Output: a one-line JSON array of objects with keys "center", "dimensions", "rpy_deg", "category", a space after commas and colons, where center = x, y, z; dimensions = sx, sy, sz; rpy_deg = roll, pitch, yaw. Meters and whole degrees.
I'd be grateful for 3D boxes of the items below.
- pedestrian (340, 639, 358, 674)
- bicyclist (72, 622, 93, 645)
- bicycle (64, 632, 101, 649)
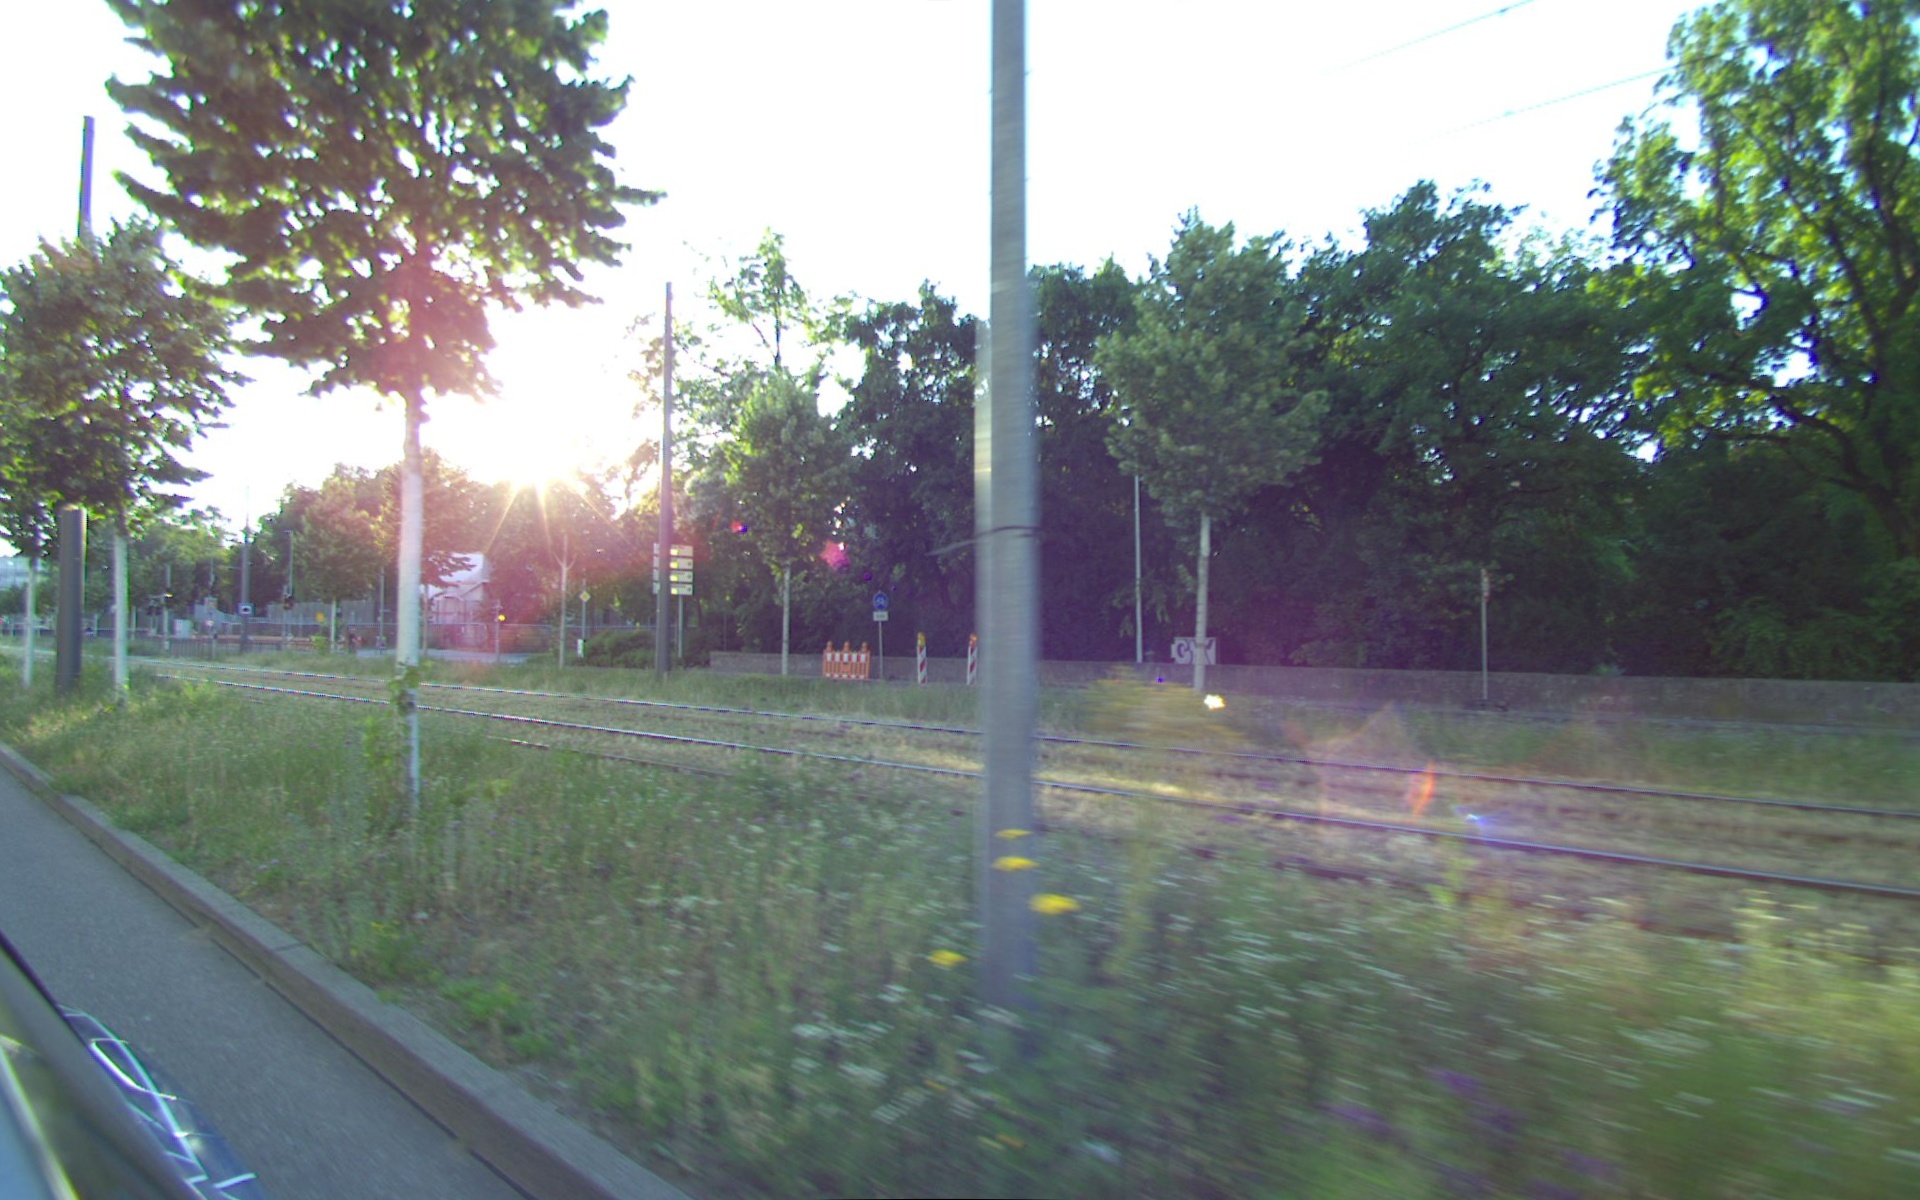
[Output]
[{"center": [-29.482, 2.726, 48.825], "dimensions": [0.660, 1.620, 0.679], "rpy_deg": [-1, -5, -35], "category": "pedestrian"}, {"center": [-62.558, 2.372, 72.170], "dimensions": [0.928, 1.633, 0.719], "rpy_deg": [-1, -1, -17], "category": "bicyclist"}, {"center": [-62.546, 2.875, 72.164], "dimensions": [1.866, 1.142, 0.719], "rpy_deg": [-1, -1, -17], "category": "bicycle"}]
